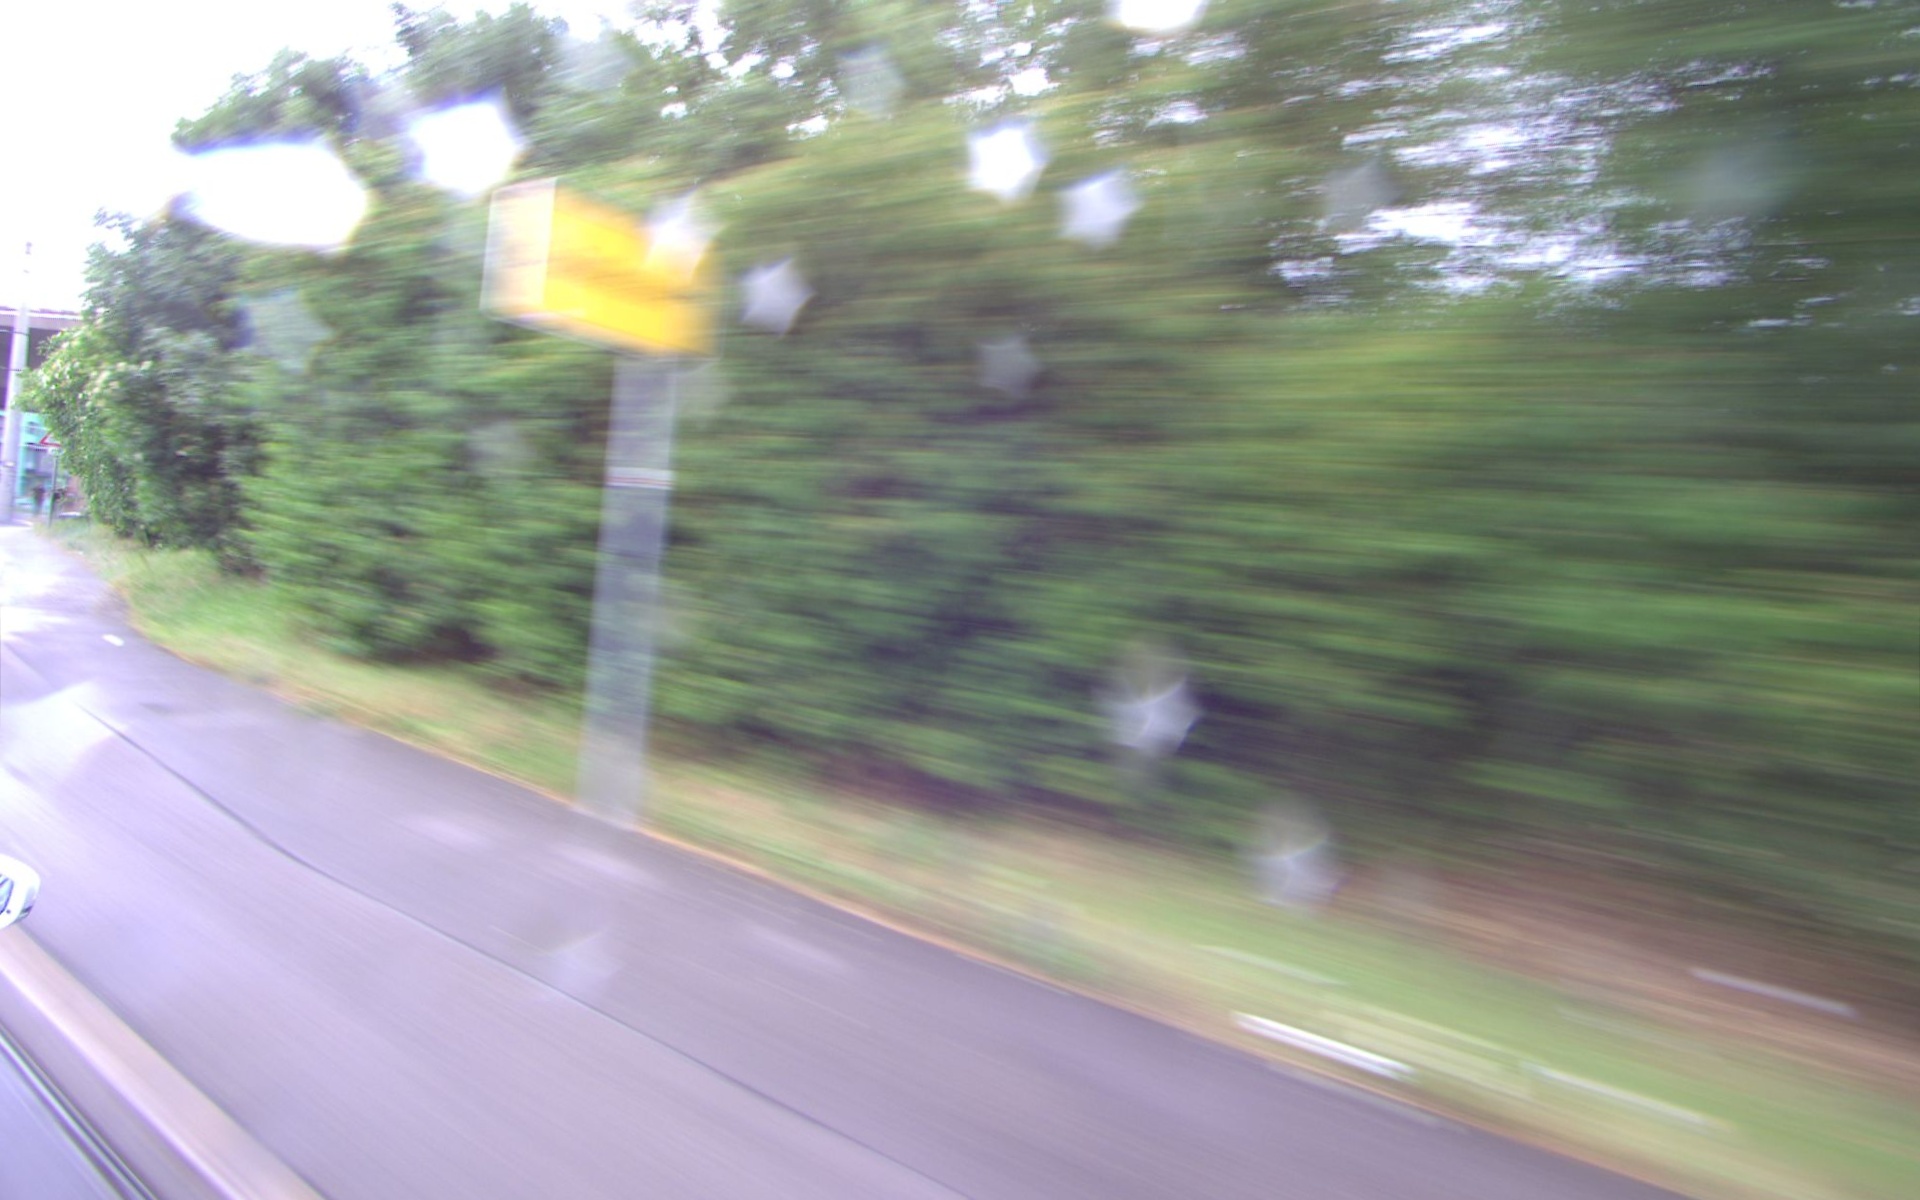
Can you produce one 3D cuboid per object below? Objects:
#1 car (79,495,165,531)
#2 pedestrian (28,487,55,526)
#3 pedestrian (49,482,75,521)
[{"bbox_3d":[-51.679,-5.330,62.143,1.768,1.540,3.739,7,-1,9],"label":"car"},{"bbox_3d":[-46.678,-4.750,51.128,0.822,1.829,0.626,6,-2,34],"label":"pedestrian"},{"bbox_3d":[-46.056,-5.048,51.589,0.895,1.843,0.598,6,-2,36],"label":"pedestrian"}]
